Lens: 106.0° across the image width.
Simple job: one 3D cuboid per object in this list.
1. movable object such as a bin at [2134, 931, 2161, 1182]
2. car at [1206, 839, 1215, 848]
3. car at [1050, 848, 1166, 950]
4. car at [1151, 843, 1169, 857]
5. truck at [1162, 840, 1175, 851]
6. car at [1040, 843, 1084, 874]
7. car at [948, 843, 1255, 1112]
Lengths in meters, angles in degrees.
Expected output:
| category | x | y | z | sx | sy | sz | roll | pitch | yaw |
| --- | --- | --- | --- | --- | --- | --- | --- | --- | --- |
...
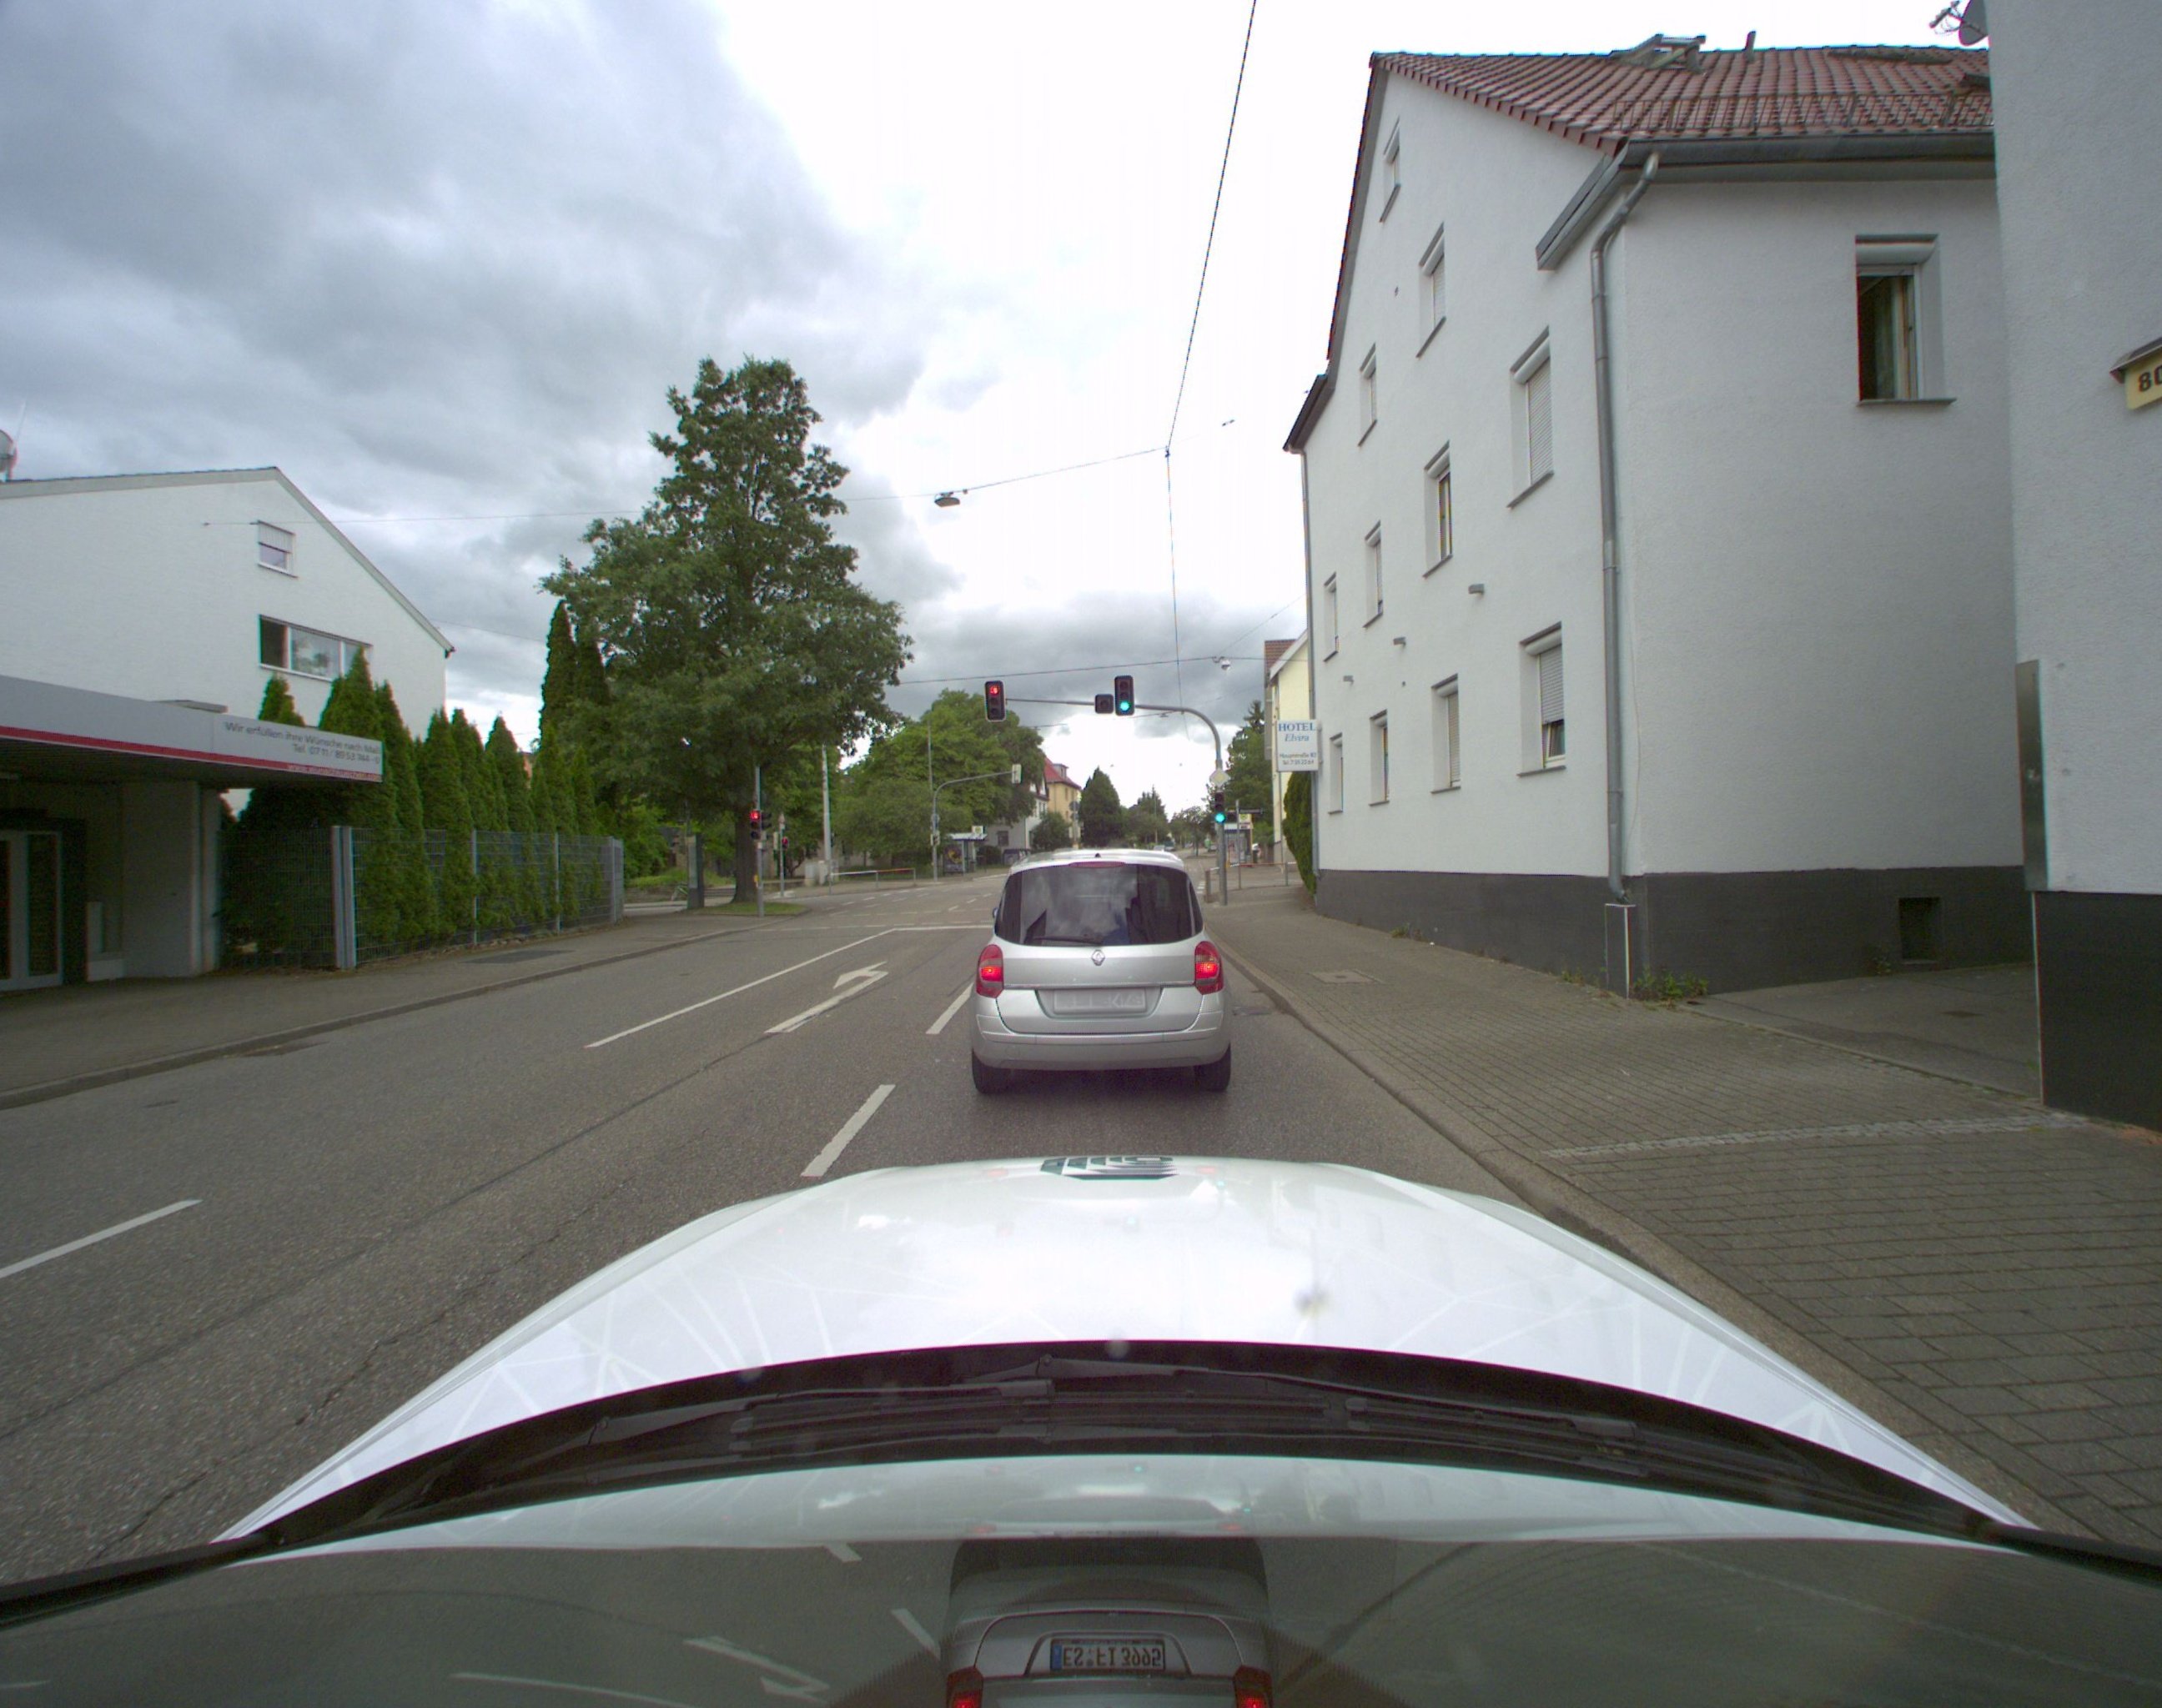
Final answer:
| category | x | y | z | sx | sy | sz | roll | pitch | yaw |
| --- | --- | --- | --- | --- | --- | --- | --- | --- | --- |
| movable object such as a bin | 4.320 | 0.752 | 2.863 | 0.538 | 0.941 | 0.487 | -4 | -1 | 2 |
| car | 35.666 | -2.840 | 224.678 | 2.044 | 2.512 | 5.616 | -1 | 0 | 14 |
| car | 0.466 | 0.698 | 14.344 | 1.748 | 1.530 | 3.798 | -1 | 0 | 1 |
| car | 10.381 | -0.538 | 106.909 | 1.844 | 1.748 | 4.015 | -1 | 0 | 13 |
| truck | 17.883 | -1.721 | 166.357 | 2.088 | 2.013 | 5.766 | -1 | 0 | 11 |
| car | -1.231 | 0.270 | 54.378 | 1.913 | 1.773 | 4.013 | -6 | -1 | 12 |
| car | 0.166 | 0.718 | 6.692 | 1.748 | 1.530 | 4.001 | -1 | 0 | 1 |
